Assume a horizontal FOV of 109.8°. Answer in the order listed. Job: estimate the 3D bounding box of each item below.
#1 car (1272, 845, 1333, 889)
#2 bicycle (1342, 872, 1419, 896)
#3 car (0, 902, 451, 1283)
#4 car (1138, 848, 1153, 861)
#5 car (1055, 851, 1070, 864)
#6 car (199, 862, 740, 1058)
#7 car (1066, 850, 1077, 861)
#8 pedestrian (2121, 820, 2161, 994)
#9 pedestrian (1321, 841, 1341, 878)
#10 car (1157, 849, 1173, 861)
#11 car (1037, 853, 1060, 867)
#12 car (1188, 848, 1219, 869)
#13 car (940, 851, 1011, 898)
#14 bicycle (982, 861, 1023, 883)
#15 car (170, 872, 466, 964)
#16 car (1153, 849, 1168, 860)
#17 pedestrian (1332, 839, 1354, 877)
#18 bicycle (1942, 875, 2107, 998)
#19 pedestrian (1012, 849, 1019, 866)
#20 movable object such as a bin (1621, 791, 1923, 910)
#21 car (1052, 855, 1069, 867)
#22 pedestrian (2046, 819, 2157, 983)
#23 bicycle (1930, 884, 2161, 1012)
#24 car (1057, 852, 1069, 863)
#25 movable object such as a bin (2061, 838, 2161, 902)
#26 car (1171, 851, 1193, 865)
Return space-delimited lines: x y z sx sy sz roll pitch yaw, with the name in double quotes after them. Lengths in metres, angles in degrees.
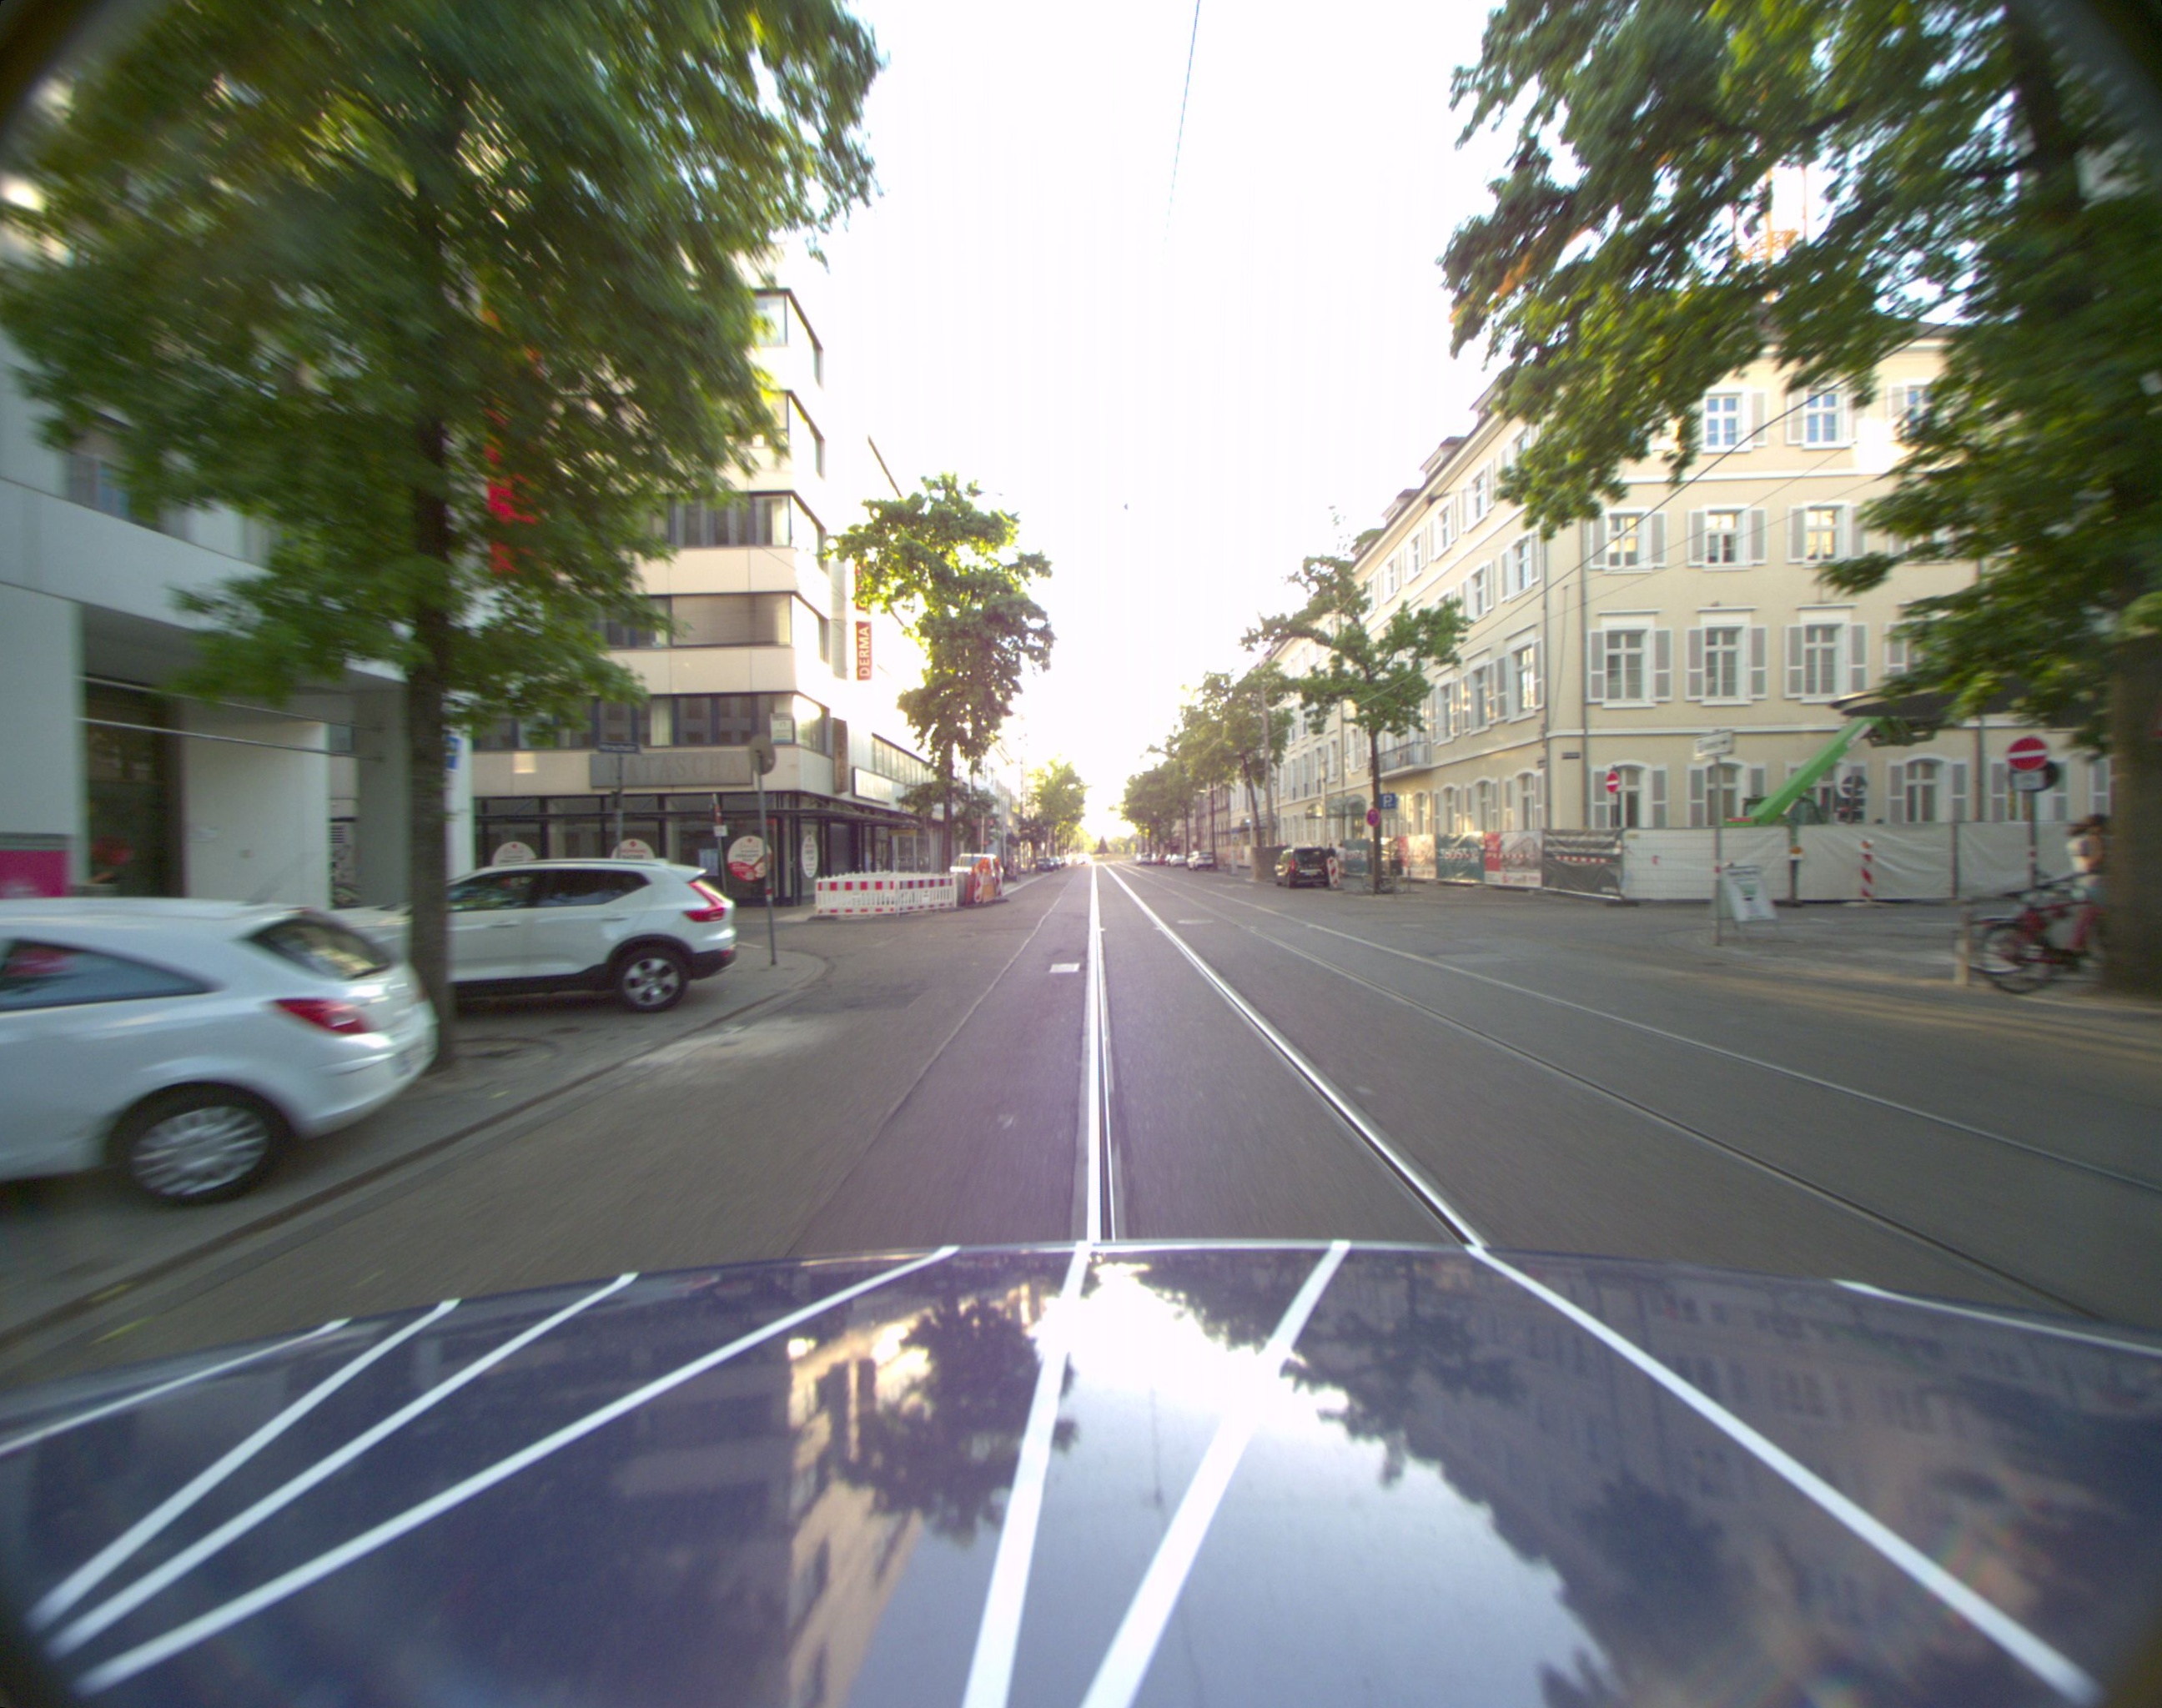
9.910 0.534 34.281 1.772 1.754 3.879 -4 0 5 "car"
10.242 1.019 26.073 2.076 0.702 1.330 -2 0 -5 "bicycle"
-5.850 1.076 3.643 4.075 1.493 1.791 1 1 -28 "car"
9.037 0.069 106.643 1.998 1.727 4.105 -1 0 3 "car"
-2.524 0.510 102.919 1.902 1.683 4.104 -1 0 -2 "car"
-6.147 0.976 8.408 4.278 1.662 1.948 1 1 -24 "car"
-1.550 0.276 124.118 1.738 1.727 4.105 -1 0 1 "car"
11.142 0.519 7.699 0.783 1.731 0.640 -3 2 -41 "pedestrian"
12.720 0.275 38.666 0.679 1.874 0.769 -3 1 2 "pedestrian"
11.587 0.142 104.923 1.998 1.567 4.105 -1 0 3 "car"
-3.245 0.575 76.013 2.002 1.354 4.105 0 0 1 "car"
10.651 0.361 66.324 1.998 1.727 4.105 -1 0 1 "car"
-4.205 0.777 31.120 1.998 1.761 4.671 1 0 3 "car"
-4.447 1.001 42.943 2.163 1.152 0.761 1 2 7 "bicycle"
-15.395 1.264 15.499 4.148 1.603 1.904 -1 1 3 "car"
11.568 0.119 110.921 1.998 1.540 4.105 -1 0 3 "car"
13.393 0.215 38.849 0.759 1.874 0.880 -3 1 2 "pedestrian"
10.506 0.862 8.453 1.869 1.132 0.778 -2 2 -27 "bicycle"
-6.209 0.348 72.023 0.477 1.547 0.748 0 2 1 "pedestrian"
17.912 -0.117 19.986 5.561 2.856 2.643 -1 1 -1 "movable object such as a bin"
-2.320 0.752 85.933 1.738 1.311 4.104 1 0 0 "car"
11.428 0.494 8.514 0.782 1.731 0.640 -3 2 -29 "pedestrian"
9.734 0.910 7.585 1.865 1.132 0.626 -2 2 -2 "bicycle"
-2.554 0.525 108.354 1.686 1.471 3.846 -1 0 0 "car"
31.992 0.402 20.537 7.288 1.655 2.899 0 1 0 "movable object such as a bin"
11.259 0.449 84.821 1.998 1.494 4.105 -1 0 1 "car"
